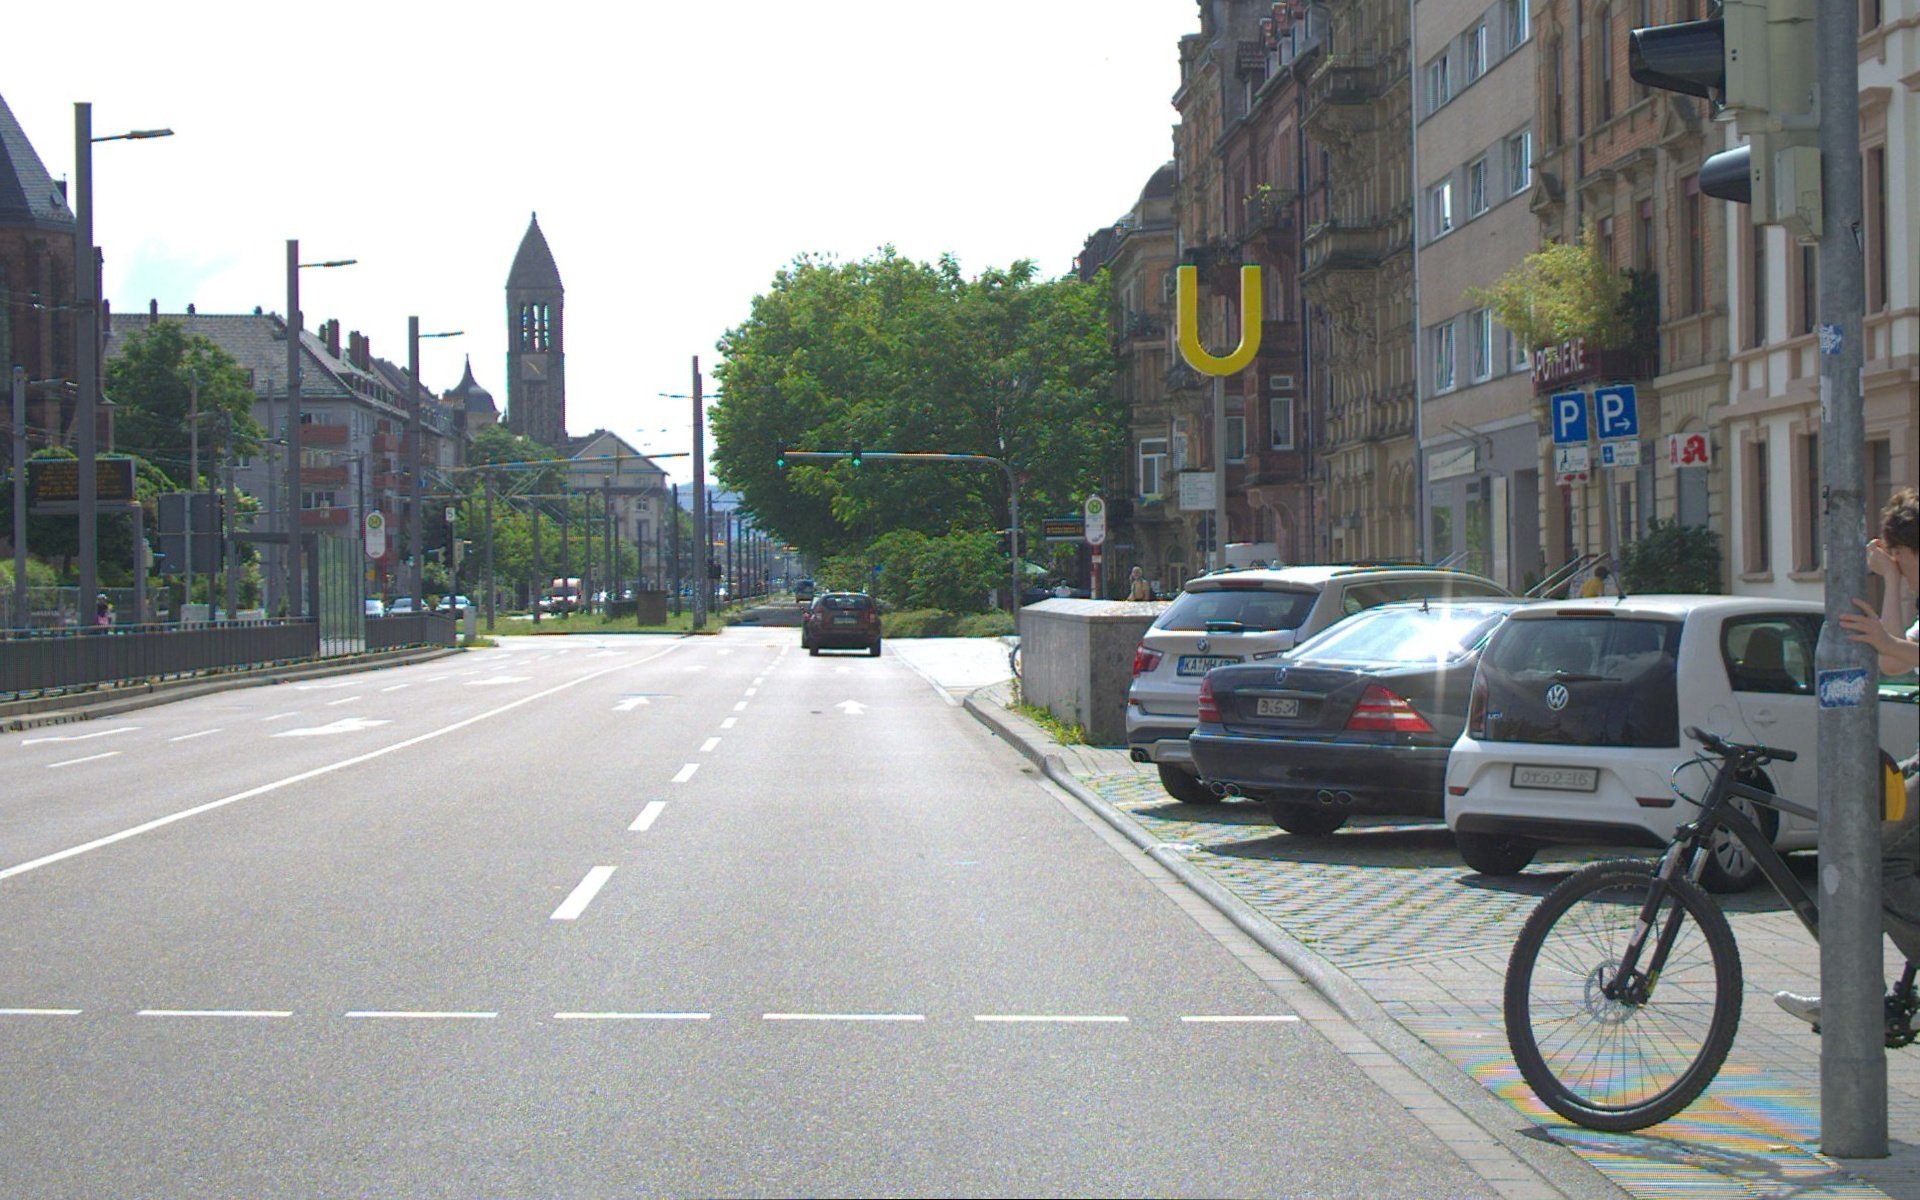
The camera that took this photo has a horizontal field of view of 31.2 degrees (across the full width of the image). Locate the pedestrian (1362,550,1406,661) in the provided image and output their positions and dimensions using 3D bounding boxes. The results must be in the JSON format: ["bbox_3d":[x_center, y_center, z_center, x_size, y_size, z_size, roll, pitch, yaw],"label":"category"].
[{"bbox_3d":[8.164,0.096,66.157,0.721,2.092,0.786,-1,2,-2],"label":"pedestrian"}]

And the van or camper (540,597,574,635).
[{"bbox_3d":[-29.841,1.186,254.661,2.255,2.728,6.204,-1,0,-5],"label":"van or camper"}]

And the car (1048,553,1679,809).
[{"bbox_3d":[2.979,0.507,24.705,4.584,1.641,2.060,-1,1,-44],"label":"car"}]

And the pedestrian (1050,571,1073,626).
[{"bbox_3d":[3.724,-0.051,125.671,0.768,2.007,0.715,-1,0,-1],"label":"pedestrian"}]

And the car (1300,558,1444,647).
[{"bbox_3d":[8.992,0.070,75.344,1.993,1.856,4.753,-1,0,-7],"label":"car"}]

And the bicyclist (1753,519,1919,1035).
[{"bbox_3d":[2.534,0.455,9.088,0.782,1.331,0.394,1,3,27],"label":"bicyclist"}]

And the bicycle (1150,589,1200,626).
[{"bbox_3d":[7.623,0.259,121.716,1.746,1.263,0.466,0,2,2],"label":"bicycle"}]

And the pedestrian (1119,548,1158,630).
[{"bbox_3d":[4.197,-0.259,80.682,0.662,1.896,0.695,-1,0,-20],"label":"pedestrian"}]

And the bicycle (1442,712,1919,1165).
[{"bbox_3d":[2.384,0.896,9.201,2.096,1.102,0.543,1,3,25],"label":"bicycle"}]

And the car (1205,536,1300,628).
[{"bbox_3d":[8.272,-0.521,97.668,1.993,2.517,5.889,-1,0,-2],"label":"car"}]

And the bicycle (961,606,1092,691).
[{"bbox_3d":[1.007,0.731,52.052,1.923,1.233,0.441,-1,2,-15],"label":"bicycle"}]

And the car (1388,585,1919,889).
[{"bbox_3d":[4.089,0.664,18.211,3.487,1.448,1.778,0,0,-42],"label":"car"}]

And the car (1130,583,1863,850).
[{"bbox_3d":[3.355,0.627,20.958,4.587,1.455,1.938,0,0,-42],"label":"car"}]

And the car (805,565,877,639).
[{"bbox_3d":[-3.040,0.041,87.319,1.688,1.705,3.610,-1,2,-4],"label":"car"}]

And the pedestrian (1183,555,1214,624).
[{"bbox_3d":[6.368,-0.276,91.727,0.662,1.830,0.695,-1,0,-8],"label":"pedestrian"}]
